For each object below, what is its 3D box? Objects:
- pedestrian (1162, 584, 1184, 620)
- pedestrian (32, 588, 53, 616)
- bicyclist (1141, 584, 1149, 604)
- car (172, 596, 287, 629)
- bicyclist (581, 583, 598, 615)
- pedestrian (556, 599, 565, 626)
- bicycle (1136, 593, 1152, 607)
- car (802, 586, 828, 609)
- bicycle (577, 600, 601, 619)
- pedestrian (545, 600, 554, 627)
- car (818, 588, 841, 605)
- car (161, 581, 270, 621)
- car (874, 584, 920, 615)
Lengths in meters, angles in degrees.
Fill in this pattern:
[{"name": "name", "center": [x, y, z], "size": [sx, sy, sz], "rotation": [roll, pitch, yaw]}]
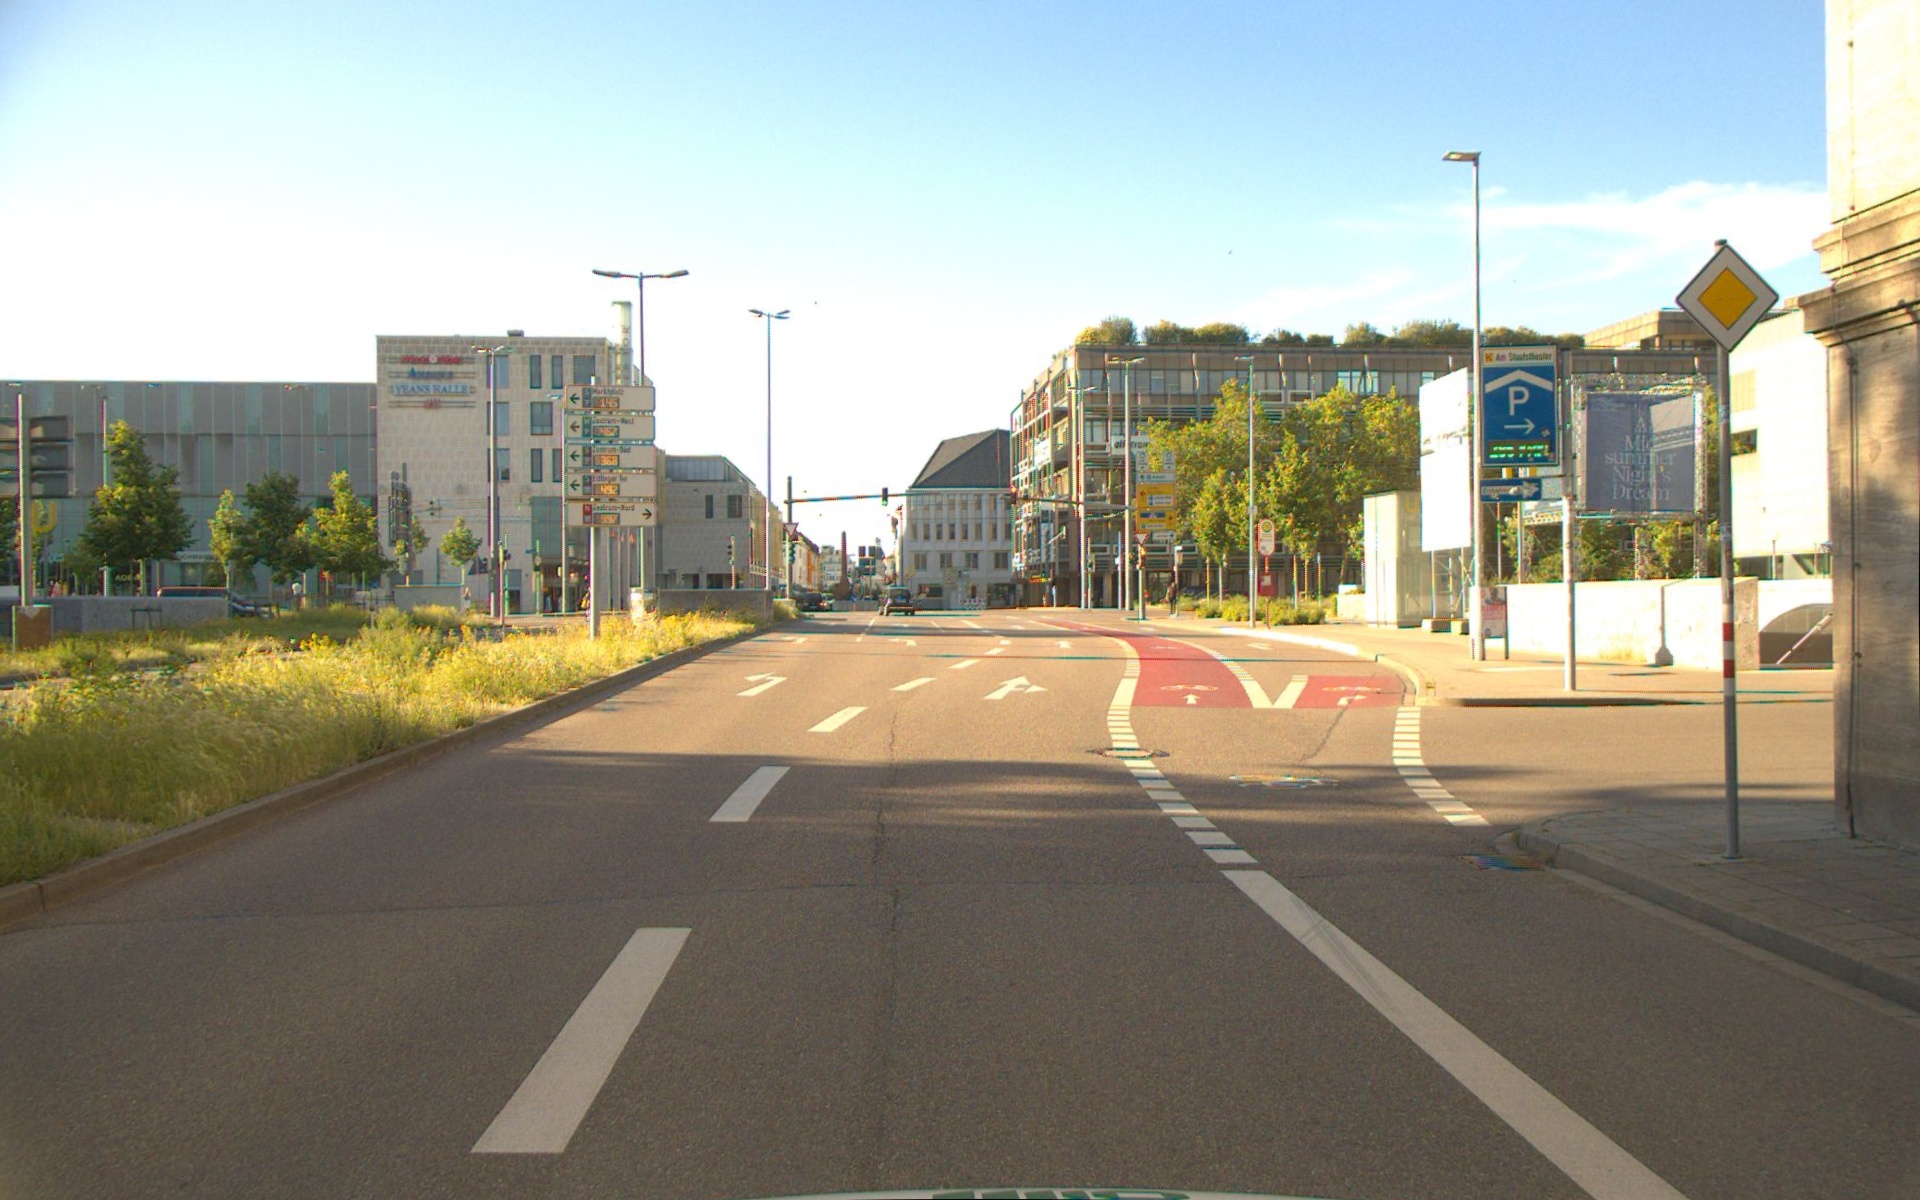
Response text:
[{"name": "pedestrian", "center": [10.552, 0.099, 81.844], "size": [0.804, 1.779, 1.042], "rotation": [-2, 0, 20]}, {"name": "pedestrian", "center": [-49.463, 0.110, 89.164], "size": [0.786, 1.528, 0.722], "rotation": [-1, 0, -10]}, {"name": "bicyclist", "center": [12.877, -0.427, 115.241], "size": [0.498, 1.361, 0.452], "rotation": [-1, 0, 1]}, {"name": "car", "center": [-34.274, 0.601, 77.697], "size": [4.555, 1.399, 1.867], "rotation": [-1, -2, -10]}, {"name": "bicyclist", "center": [-17.831, -0.051, 79.590], "size": [0.594, 1.515, 0.681], "rotation": [0, 0, 3]}, {"name": "pedestrian", "center": [-30.556, 0.951, 126.635], "size": [0.611, 2.049, 0.515], "rotation": [-1, 0, -11]}, {"name": "bicycle", "center": [12.829, 0.018, 115.236], "size": [1.054, 0.988, 0.458], "rotation": [-1, 0, 0]}, {"name": "car", "center": [-12.168, -0.215, 139.364], "size": [1.953, 1.772, 4.645], "rotation": [0, 2, -2]}, {"name": "bicycle", "center": [-17.823, 0.445, 79.560], "size": [0.599, 0.876, 1.952], "rotation": [0, 0, 3]}, {"name": "pedestrian", "center": [-31.277, 1.000, 126.137], "size": [0.611, 2.049, 0.515], "rotation": [-1, 0, -11]}, {"name": "car", "center": [-12.199, -0.333, 154.548], "size": [1.953, 1.380, 4.645], "rotation": [0, 2, -2]}, {"name": "car", "center": [-36.538, 0.048, 81.271], "size": [4.555, 1.842, 1.867], "rotation": [-1, -2, -10]}, {"name": "car", "center": [-3.425, -0.045, 89.353], "size": [1.745, 1.591, 3.776], "rotation": [-1, 0, -13]}]
